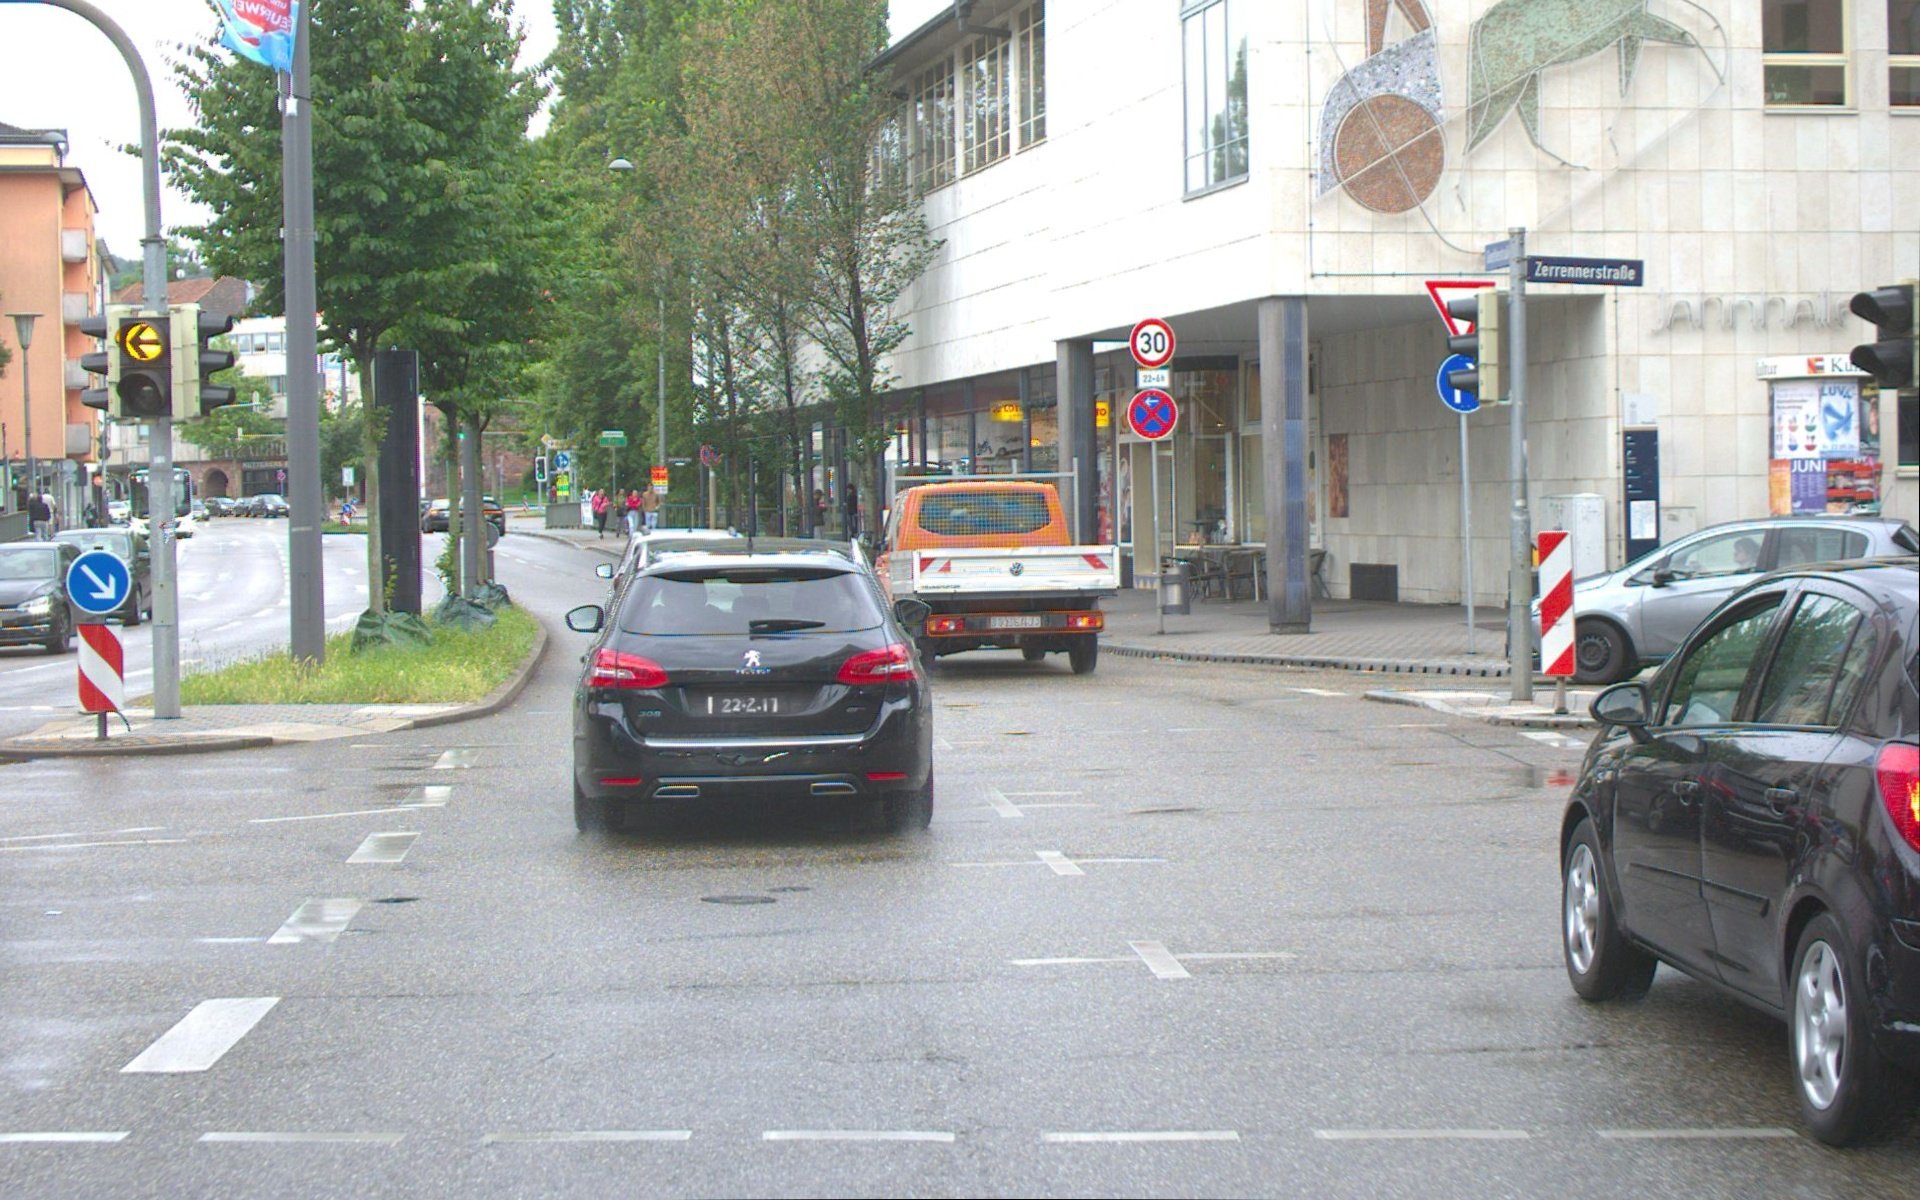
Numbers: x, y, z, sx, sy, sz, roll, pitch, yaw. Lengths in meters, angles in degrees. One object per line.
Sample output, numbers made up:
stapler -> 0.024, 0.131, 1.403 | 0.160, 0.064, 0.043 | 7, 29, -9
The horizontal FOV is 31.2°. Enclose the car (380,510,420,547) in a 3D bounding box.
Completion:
car -> -25.953, -3.289, 159.352 | 1.644, 1.559, 3.601 | 2, -1, -12

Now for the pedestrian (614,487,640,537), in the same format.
pedestrian -> -10.716, -2.824, 110.582 | 0.725, 1.584, 0.607 | -3, 2, -12

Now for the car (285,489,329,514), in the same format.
car -> -45.977, -6.919, 241.984 | 1.645, 1.559, 3.599 | 2, -1, -36

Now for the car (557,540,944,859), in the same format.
car -> -1.048, 0.439, 18.072 | 1.795, 1.478, 4.000 | 0, 1, -2

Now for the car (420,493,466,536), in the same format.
car -> -21.254, -3.500, 141.349 | 1.644, 1.559, 3.601 | 2, -1, -12

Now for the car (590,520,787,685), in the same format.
car -> -2.714, -0.025, 34.027 | 1.794, 1.478, 4.001 | -1, 2, -5

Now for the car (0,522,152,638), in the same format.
car -> -14.279, -0.358, 55.651 | 1.827, 1.730, 4.260 | -3, 2, -8

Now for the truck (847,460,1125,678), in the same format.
truck -> 0.177, -0.329, 35.100 | 2.121, 2.018, 4.717 | -2, 1, -8

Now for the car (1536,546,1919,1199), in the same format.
car -> 2.877, 0.595, 9.714 | 1.708, 1.452, 3.743 | 0, 1, -3

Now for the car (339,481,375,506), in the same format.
car -> -40.625, -7.169, 231.565 | 1.993, 1.678, 4.001 | -2, 2, -14

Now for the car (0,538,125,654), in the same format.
car -> -12.278, -0.044, 44.953 | 1.757, 1.415, 4.097 | -3, 1, -2

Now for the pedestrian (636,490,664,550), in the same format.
pedestrian -> -9.427, -2.446, 104.533 | 0.698, 1.795, 0.607 | -3, 2, -12

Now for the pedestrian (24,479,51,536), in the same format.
pedestrian -> -28.747, -2.885, 107.183 | 0.698, 1.787, 0.959 | 0, 1, -9

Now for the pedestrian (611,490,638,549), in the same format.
pedestrian -> -10.189, -2.457, 104.460 | 0.653, 1.761, 0.923 | -3, 2, -12

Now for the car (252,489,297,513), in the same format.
car -> -47.435, -6.850, 237.990 | 1.645, 1.559, 3.599 | 2, -1, -36

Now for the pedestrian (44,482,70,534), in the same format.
pedestrian -> -30.888, -3.145, 117.613 | 0.797, 1.787, 0.812 | 0, 1, -9

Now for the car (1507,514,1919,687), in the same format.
car -> 7.070, -0.014, 30.802 | 3.991, 1.472, 1.998 | 0, 1, 20

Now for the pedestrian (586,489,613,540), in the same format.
pedestrian -> -11.592, -2.748, 110.467 | 0.717, 1.614, 0.769 | -3, 2, -12

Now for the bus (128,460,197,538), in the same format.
bus -> -34.541, -4.451, 148.672 | 2.743, 3.064, 12.242 | -1, 3, -14

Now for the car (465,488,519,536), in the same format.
car -> -17.043, -3.180, 125.106 | 1.644, 1.559, 3.601 | 2, -1, -12
